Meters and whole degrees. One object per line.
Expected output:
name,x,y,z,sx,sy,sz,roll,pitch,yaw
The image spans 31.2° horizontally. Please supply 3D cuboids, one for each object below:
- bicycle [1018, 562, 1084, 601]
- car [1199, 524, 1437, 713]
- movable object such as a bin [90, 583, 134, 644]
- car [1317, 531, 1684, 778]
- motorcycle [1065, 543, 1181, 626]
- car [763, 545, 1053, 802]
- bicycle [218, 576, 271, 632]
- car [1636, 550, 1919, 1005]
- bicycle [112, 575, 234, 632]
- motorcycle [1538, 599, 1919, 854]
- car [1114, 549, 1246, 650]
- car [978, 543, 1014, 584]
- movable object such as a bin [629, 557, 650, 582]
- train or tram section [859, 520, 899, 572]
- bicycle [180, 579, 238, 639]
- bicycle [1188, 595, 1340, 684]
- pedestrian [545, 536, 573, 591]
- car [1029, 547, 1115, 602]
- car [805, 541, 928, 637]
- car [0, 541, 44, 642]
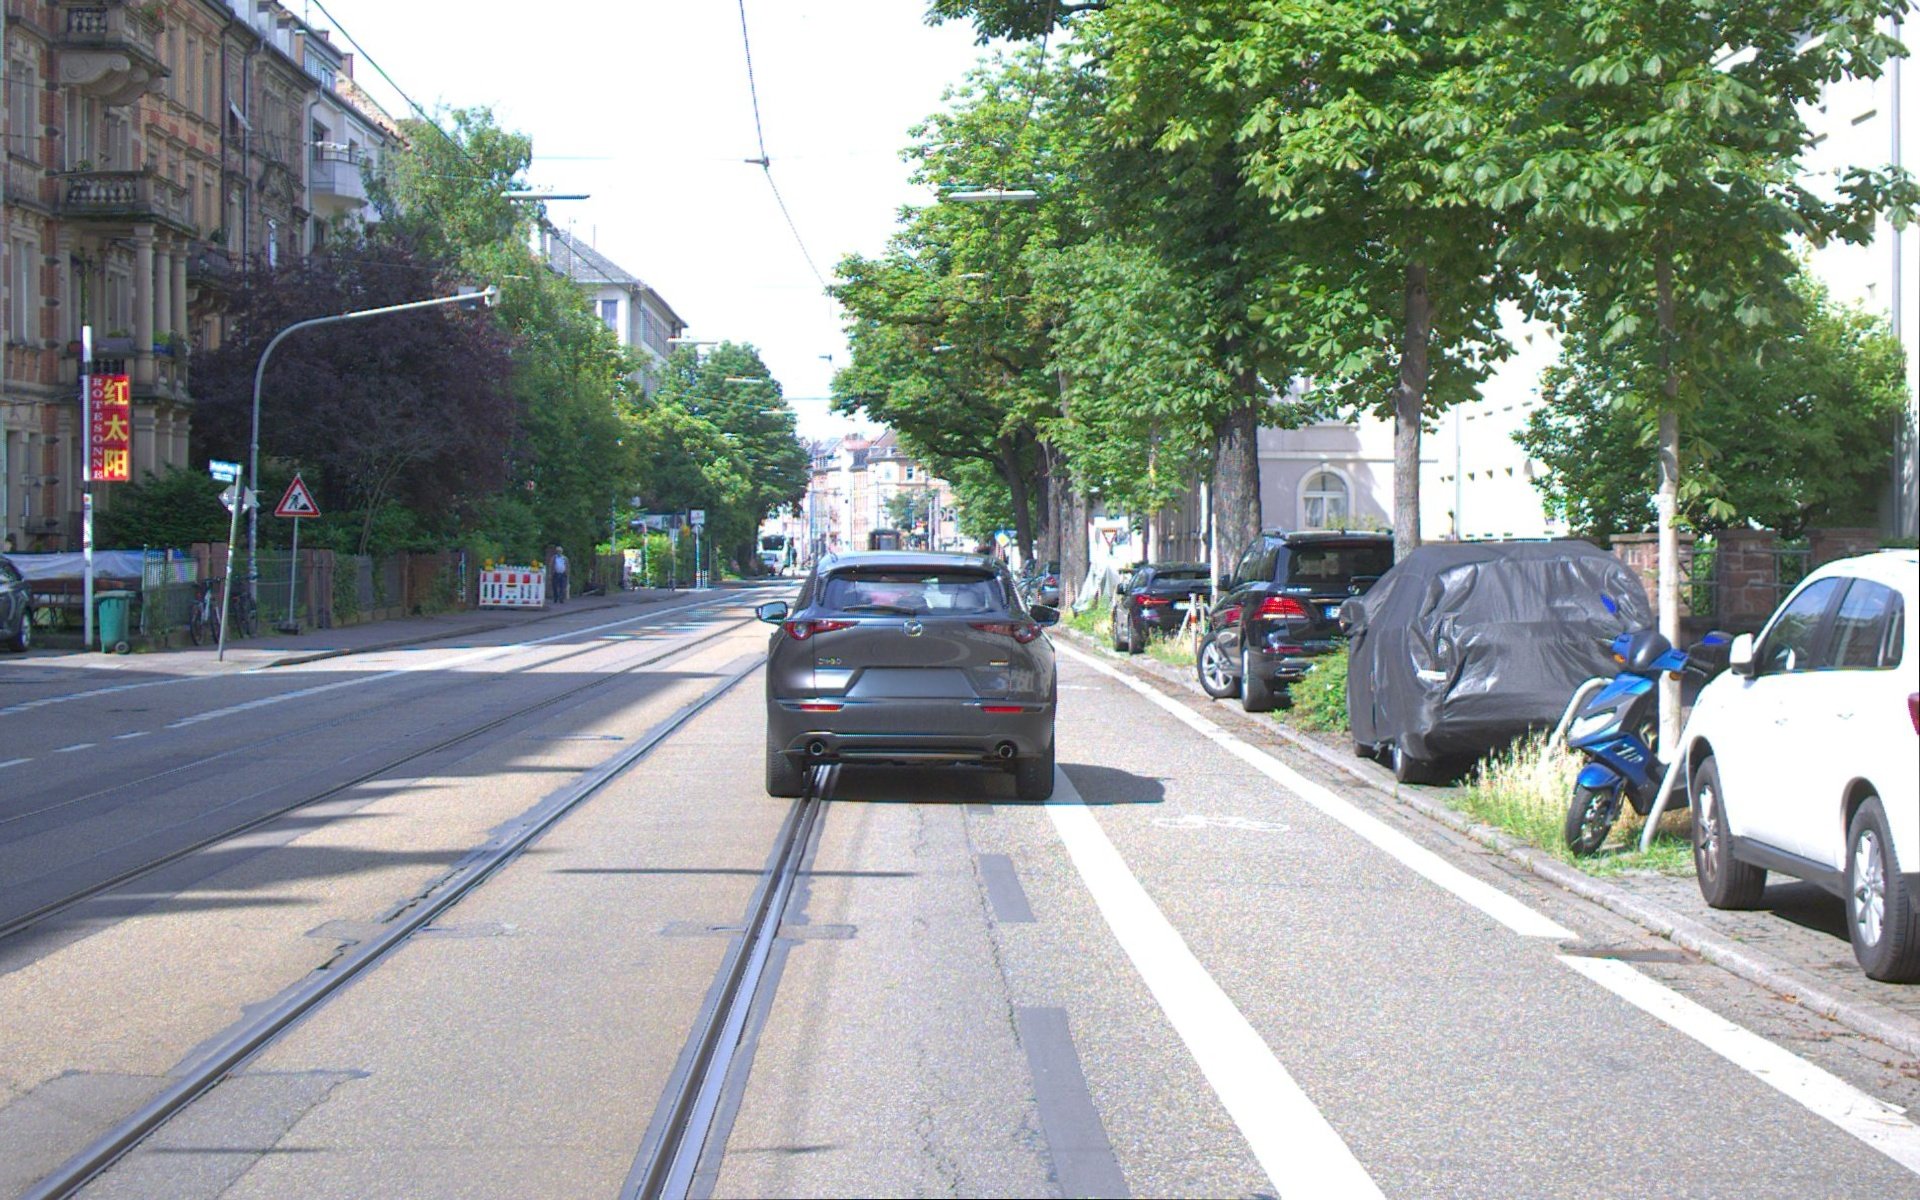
bicycle,2.802,-0.570,105.874,1.938,1.172,0.513,-1,0,11
car,3.554,0.123,34.879,1.827,1.776,4.733,0,1,-1
movable object such as a bin,-12.724,0.205,51.589,0.525,0.902,0.636,0,1,-2
car,3.840,0.329,25.221,1.862,1.647,4.638,0,1,-1
motorcycle,3.320,-0.331,70.201,2.385,1.592,0.677,3,2,38
car,-0.344,0.410,22.178,1.720,1.521,3.590,0,1,-1
bicycle,-12.418,0.057,59.700,0.530,0.943,1.968,0,1,-1
car,4.126,0.593,14.100,1.742,1.575,4.249,0,1,-2
bicycle,-13.296,0.057,58.098,1.961,0.943,0.532,0,1,-5
motorcycle,4.202,0.670,18.560,2.006,1.332,0.747,0,1,-5
car,3.450,-0.031,54.545,1.706,1.474,4.197,2,1,-1
car,1.747,-1.809,168.814,1.720,1.962,4.207,0,1,0
movable object such as a bin,-13.119,-1.241,140.728,0.745,0.984,1.114,2,1,-1
train or tram section,-6.064,-4.015,255.037,2.571,3.760,13.027,0,1,-3
bicycle,-12.167,0.136,55.724,0.530,0.943,1.968,0,1,-1
bicycle,3.539,0.457,40.072,1.708,1.003,0.638,0,1,0
pedestrian,-12.420,-1.123,106.448,0.822,1.700,0.891,0,0,-4
car,3.011,-0.703,93.009,1.846,1.404,4.395,-2,1,-4
car,-1.589,-0.203,59.079,1.993,1.523,4.000,2,1,-1
car,-14.635,-0.122,49.463,1.685,1.454,4.765,0,1,-1
